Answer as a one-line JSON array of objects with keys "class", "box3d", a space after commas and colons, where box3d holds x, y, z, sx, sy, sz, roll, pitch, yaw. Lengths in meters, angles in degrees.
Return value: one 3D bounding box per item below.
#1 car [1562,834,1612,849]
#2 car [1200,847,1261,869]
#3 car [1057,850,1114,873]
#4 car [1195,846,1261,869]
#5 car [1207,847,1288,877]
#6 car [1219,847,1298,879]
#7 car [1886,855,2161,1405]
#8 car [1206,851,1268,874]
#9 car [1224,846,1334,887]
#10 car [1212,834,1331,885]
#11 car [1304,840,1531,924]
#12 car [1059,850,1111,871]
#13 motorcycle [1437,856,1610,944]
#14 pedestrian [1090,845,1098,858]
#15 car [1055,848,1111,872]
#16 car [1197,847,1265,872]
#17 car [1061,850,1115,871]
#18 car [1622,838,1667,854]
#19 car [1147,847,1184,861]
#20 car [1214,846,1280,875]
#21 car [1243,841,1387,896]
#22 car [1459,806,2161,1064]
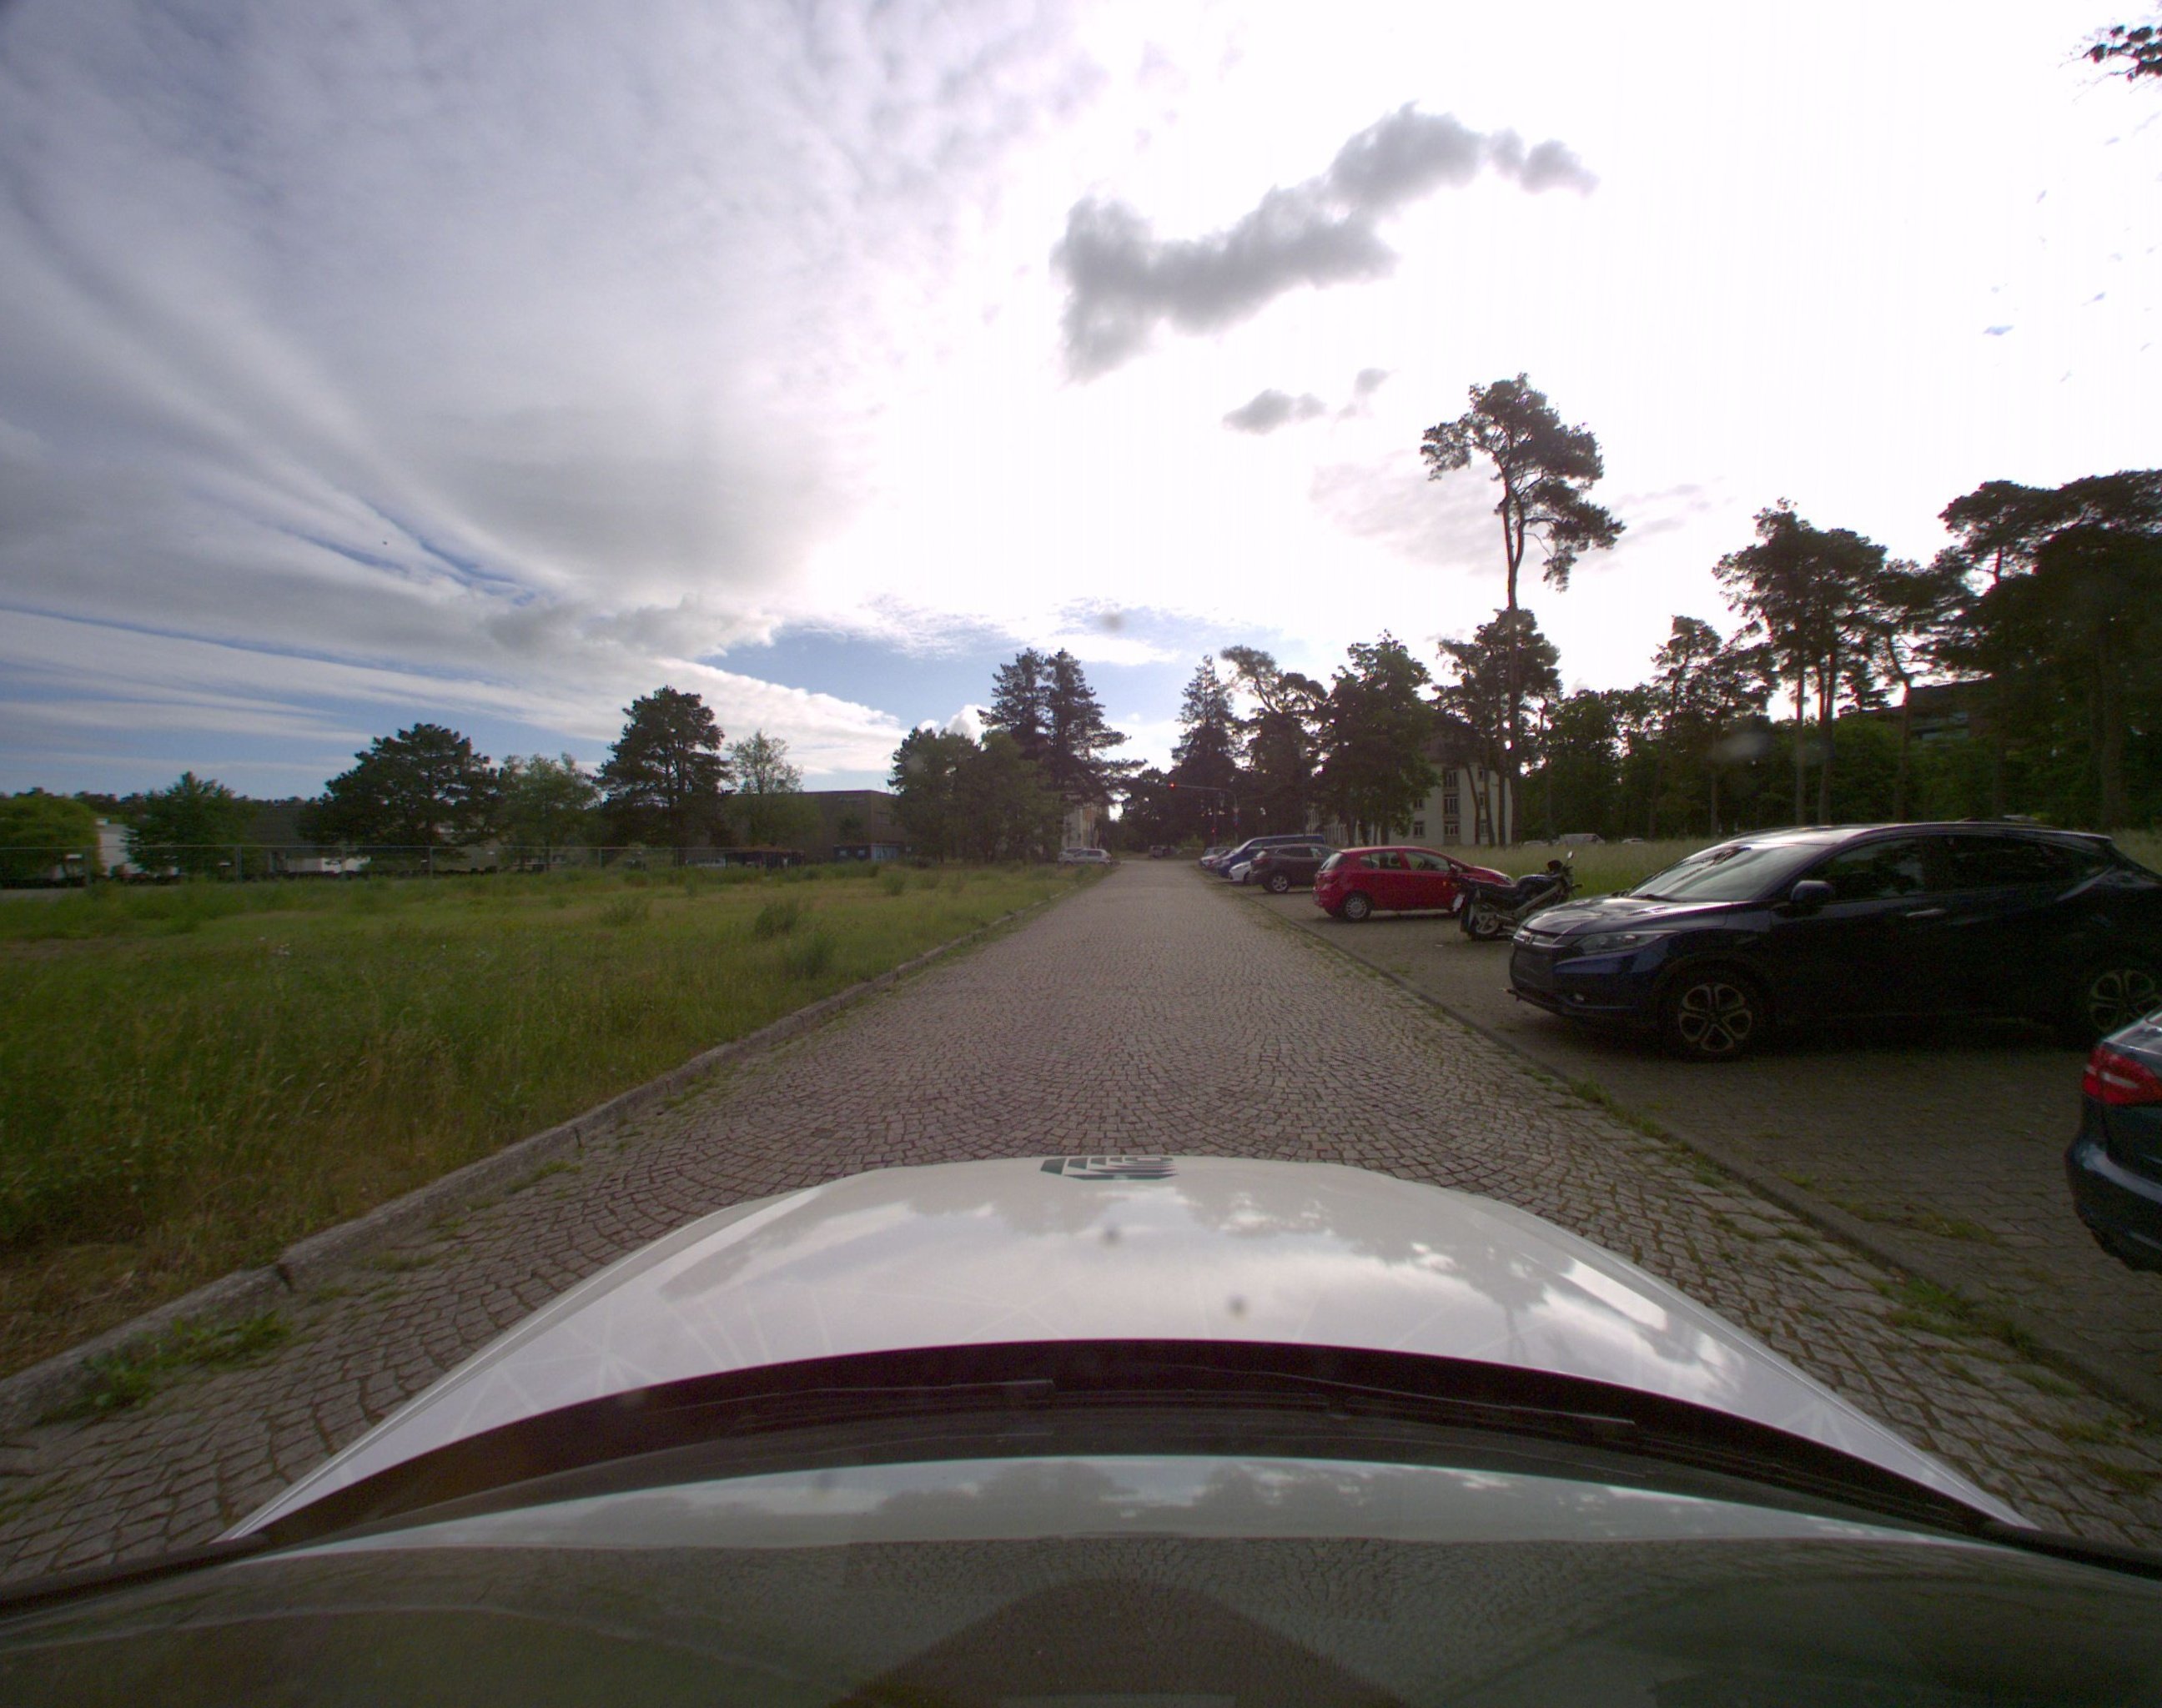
[{"class": "car", "box3d": [67.198, -1.649, 108.218, 5.274, 2.019, 2.109, 0, 0, 6]}, {"class": "car", "box3d": [10.883, 0.279, 59.488, 4.122, 1.463, 1.633, -2, 0, 0]}, {"class": "car", "box3d": [0.333, 0.525, 62.023, 4.285, 1.554, 1.811, -2, 0, -1]}, {"class": "car", "box3d": [10.242, 0.238, 56.975, 4.223, 1.479, 1.706, -2, 0, -6]}, {"class": "car", "box3d": [8.957, 0.436, 44.053, 4.110, 1.447, 1.768, -2, 0, 5]}, {"class": "car", "box3d": [8.923, 0.434, 41.138, 3.636, 1.478, 1.768, -2, 0, 5]}, {"class": "car", "box3d": [5.006, 0.686, 1.768, 4.332, 1.439, 1.931, -2, 0, 8]}, {"class": "car", "box3d": [9.447, 0.499, 49.533, 3.568, 1.223, 1.631, -2, 0, 6]}, {"class": "car", "box3d": [8.042, 0.494, 33.319, 4.082, 1.478, 1.723, -2, 0, 2]}, {"class": "car", "box3d": [8.294, 0.230, 35.855, 4.775, 2.004, 1.968, -2, 0, 3]}, {"class": "car", "box3d": [6.756, 0.535, 16.682, 3.906, 1.496, 1.786, -2, 0, 3]}, {"class": "car", "box3d": [0.321, 0.465, 59.415, 3.706, 1.481, 1.674, 1, 0, 2]}, {"class": "motorcycle", "box3d": [6.582, 0.672, 12.181, 2.221, 1.202, 0.568, -2, 0, 3]}, {"class": "pedestrian", "box3d": [1.971, -0.345, 125.148, 1.069, 1.959, 1.123, 0, 0, 5]}, {"class": "car", "box3d": [0.161, 0.446, 64.856, 4.284, 1.732, 1.652, -2, 0, 0]}, {"class": "car", "box3d": [9.970, 0.355, 54.217, 4.174, 1.437, 1.754, -2, 0, -2]}, {"class": "car", "box3d": [0.578, 0.515, 67.288, 4.285, 1.554, 1.811, -2, 0, -1]}, {"class": "car", "box3d": [67.368, -0.941, 97.420, 4.111, 1.804, 1.904, 0, 0, 7]}, {"class": "car", "box3d": [13.092, -0.040, 126.548, 5.371, 2.101, 2.173, -1, 0, -7]}, {"class": "car", "box3d": [9.521, 0.363, 46.888, 3.489, 1.487, 1.745, -2, 0, 4]}, {"class": "car", "box3d": [7.654, 0.451, 26.963, 4.186, 1.595, 1.955, -2, 0, 3]}, {"class": "car", "box3d": [5.546, 0.550, 6.427, 4.226, 1.622, 1.888, -2, 0, 3]}]
